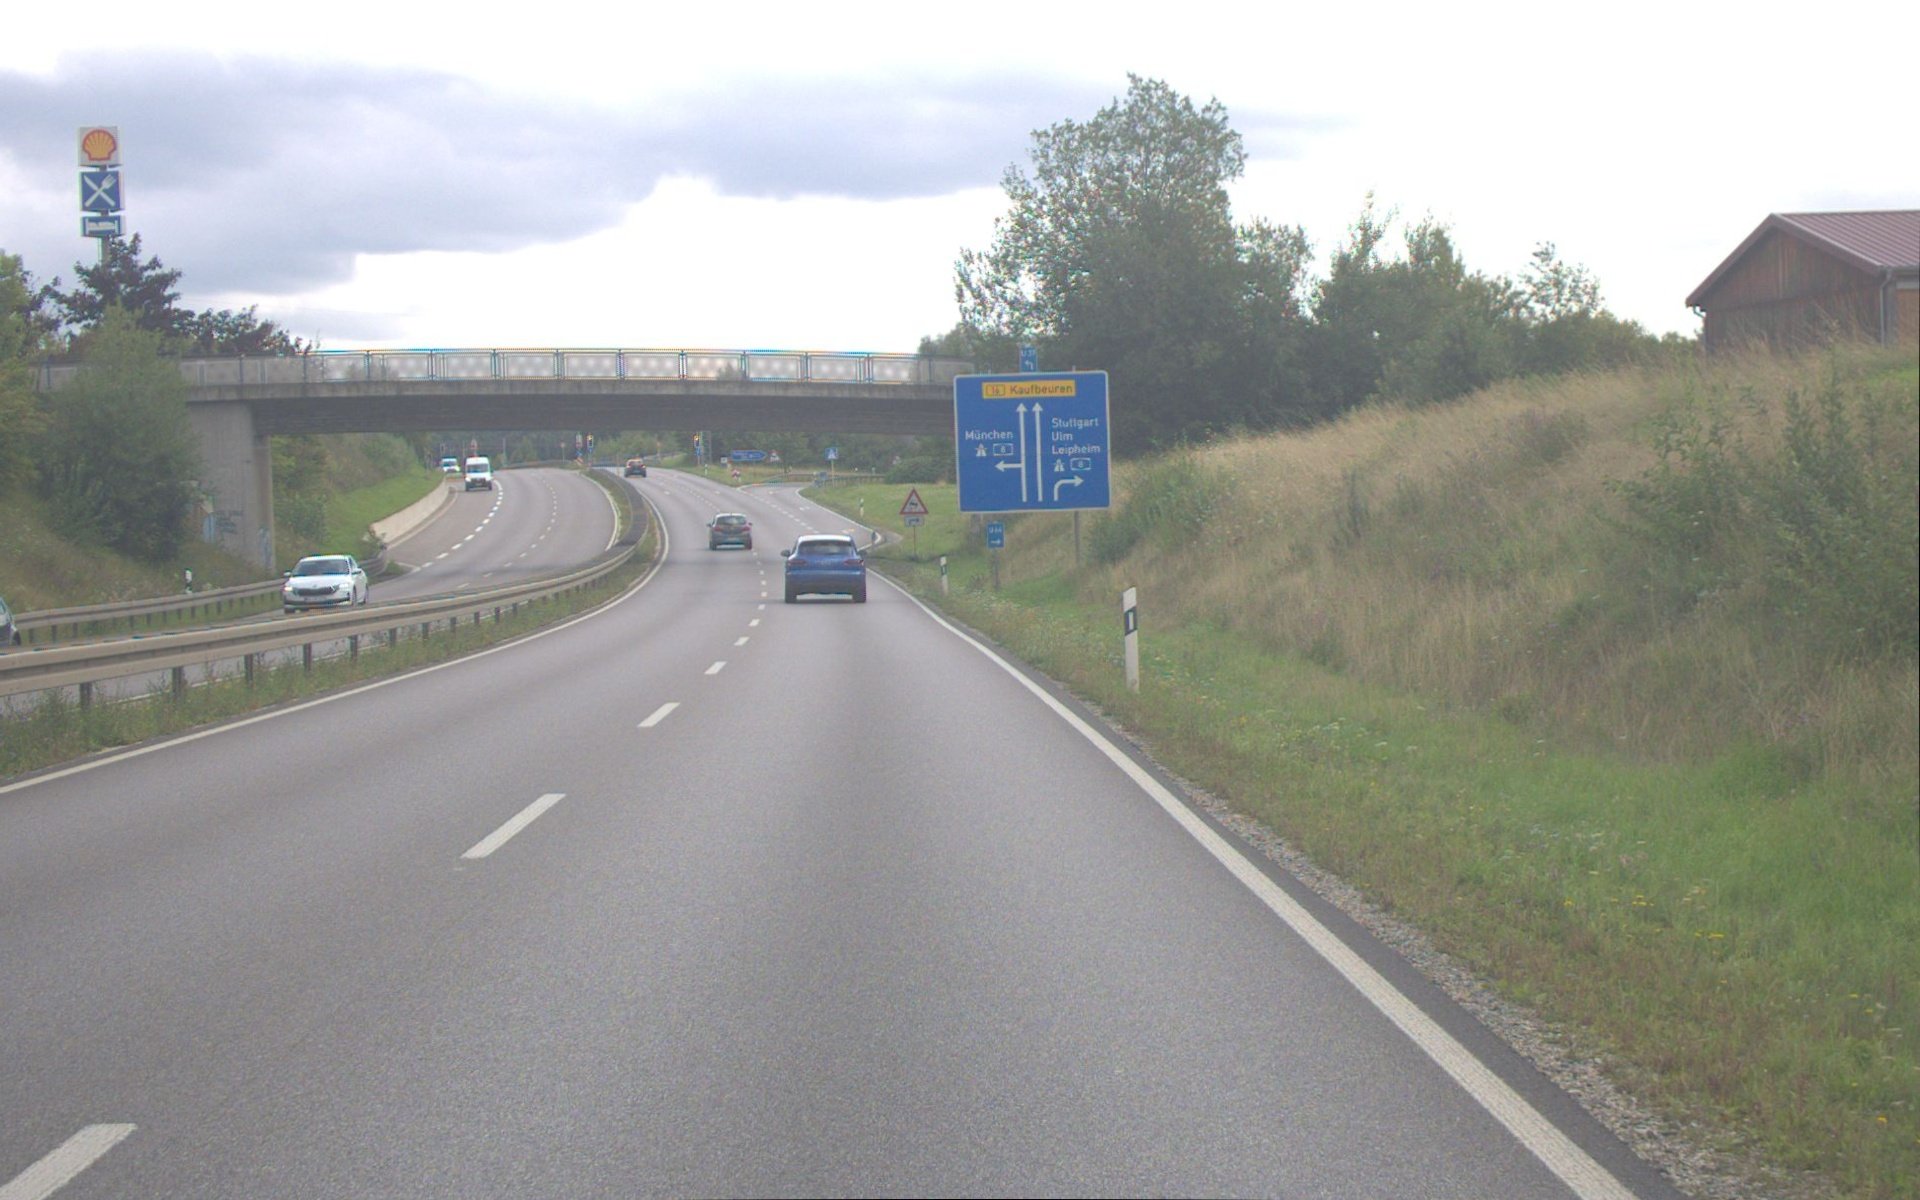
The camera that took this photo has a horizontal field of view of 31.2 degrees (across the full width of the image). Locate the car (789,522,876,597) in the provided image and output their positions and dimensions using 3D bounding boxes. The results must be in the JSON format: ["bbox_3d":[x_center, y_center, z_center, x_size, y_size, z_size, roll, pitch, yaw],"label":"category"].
[{"bbox_3d":[-3.079,-0.993,82.617,2.033,1.654,4.544,0,2,-2],"label":"car"}]

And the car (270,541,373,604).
[{"bbox_3d":[-16.333,-0.732,88.115,1.993,1.448,4.001,-1,2,-2],"label":"car"}]

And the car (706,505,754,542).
[{"bbox_3d":[-9.612,-3.217,144.047,1.917,1.448,4.365,-1,2,-3],"label":"car"}]

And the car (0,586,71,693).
[{"bbox_3d":[-13.414,0.534,45.717,1.993,1.300,4.822,-1,1,-1],"label":"car"}]
